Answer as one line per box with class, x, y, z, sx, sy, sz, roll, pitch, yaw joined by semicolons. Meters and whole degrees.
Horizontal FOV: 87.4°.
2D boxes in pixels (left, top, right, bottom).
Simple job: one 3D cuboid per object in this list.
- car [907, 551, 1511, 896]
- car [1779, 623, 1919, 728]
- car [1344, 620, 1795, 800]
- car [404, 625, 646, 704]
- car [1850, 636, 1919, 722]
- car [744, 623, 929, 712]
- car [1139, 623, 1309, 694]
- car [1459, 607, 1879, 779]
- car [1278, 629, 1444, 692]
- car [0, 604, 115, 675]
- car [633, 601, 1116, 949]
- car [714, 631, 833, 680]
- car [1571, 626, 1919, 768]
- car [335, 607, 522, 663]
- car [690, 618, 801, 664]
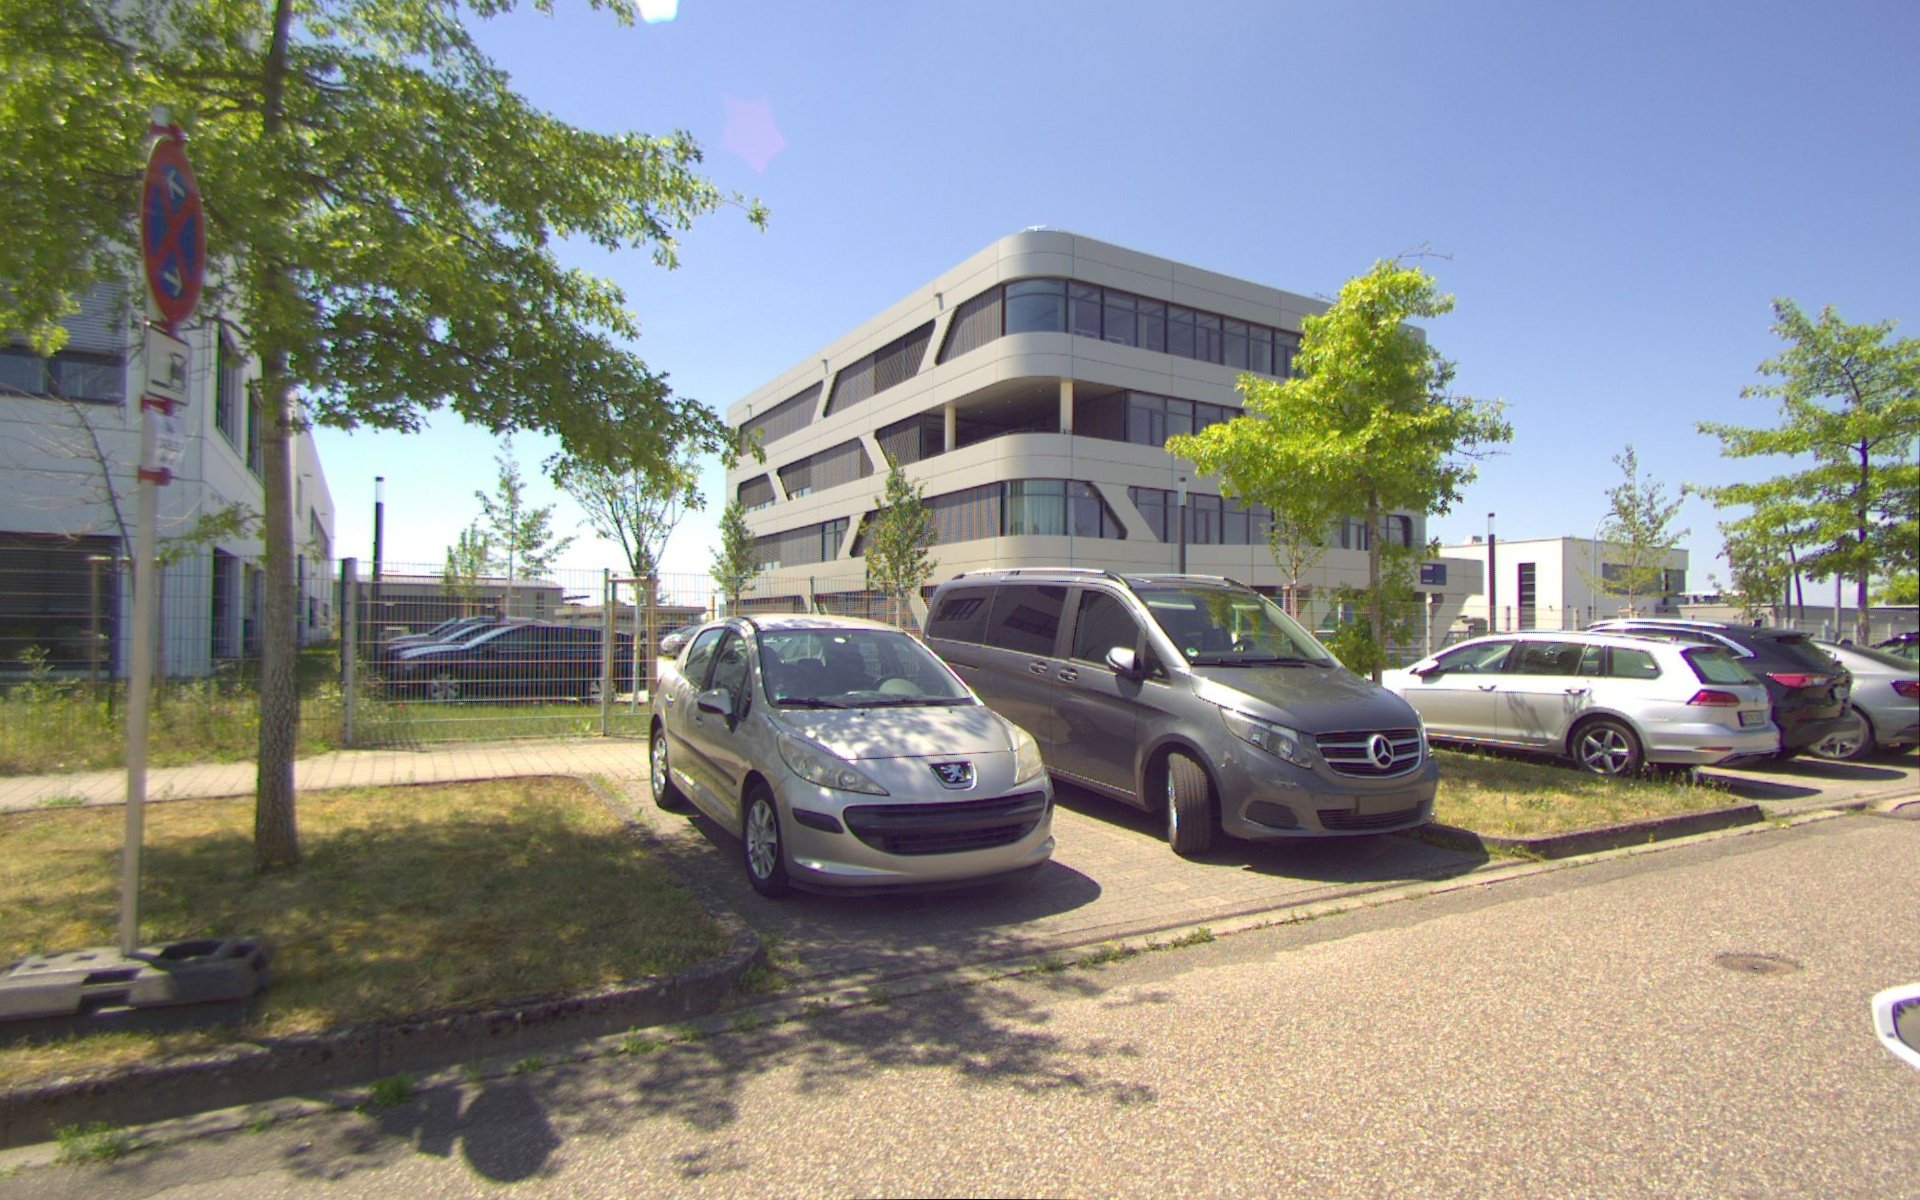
car;1.531;0.698;8.298;1.972;1.917;5.049;1;0;-28
car;16.389;1.283;16.834;1.794;1.643;3.721;2;0;-29
car;6.528;1.054;11.236;1.587;1.480;4.014;2;0;-32
car;-8.213;1.229;19.013;3.955;1.243;1.984;5;-4;-30
car;18.655;1.487;18.068;1.713;1.528;3.635;2;0;-33
car;-2.278;1.195;17.538;1.660;1.349;3.966;2;-5;-33
car;5.683;1.252;21.956;1.658;1.409;3.463;1;-3;-30
car;8.741;1.015;12.722;1.759;1.701;3.961;2;0;-34
car;9.634;1.461;24.361;1.658;1.409;3.463;1;-3;-30
car;-22.623;0.906;23.614;3.955;1.623;1.767;1;-2;-32
car;-0.885;0.820;6.735;1.742;1.504;3.951;1;0;-29
car;-6.969;2.071;37.590;3.954;1.739;1.984;2;-3;-31
car;11.013;1.197;13.795;1.692;1.500;4.174;2;0;-29
car;-13.202;0.895;25.057;3.954;1.244;1.984;3;-3;-30
car;-8.562;1.640;40.159;3.954;1.739;1.984;2;-3;-31
